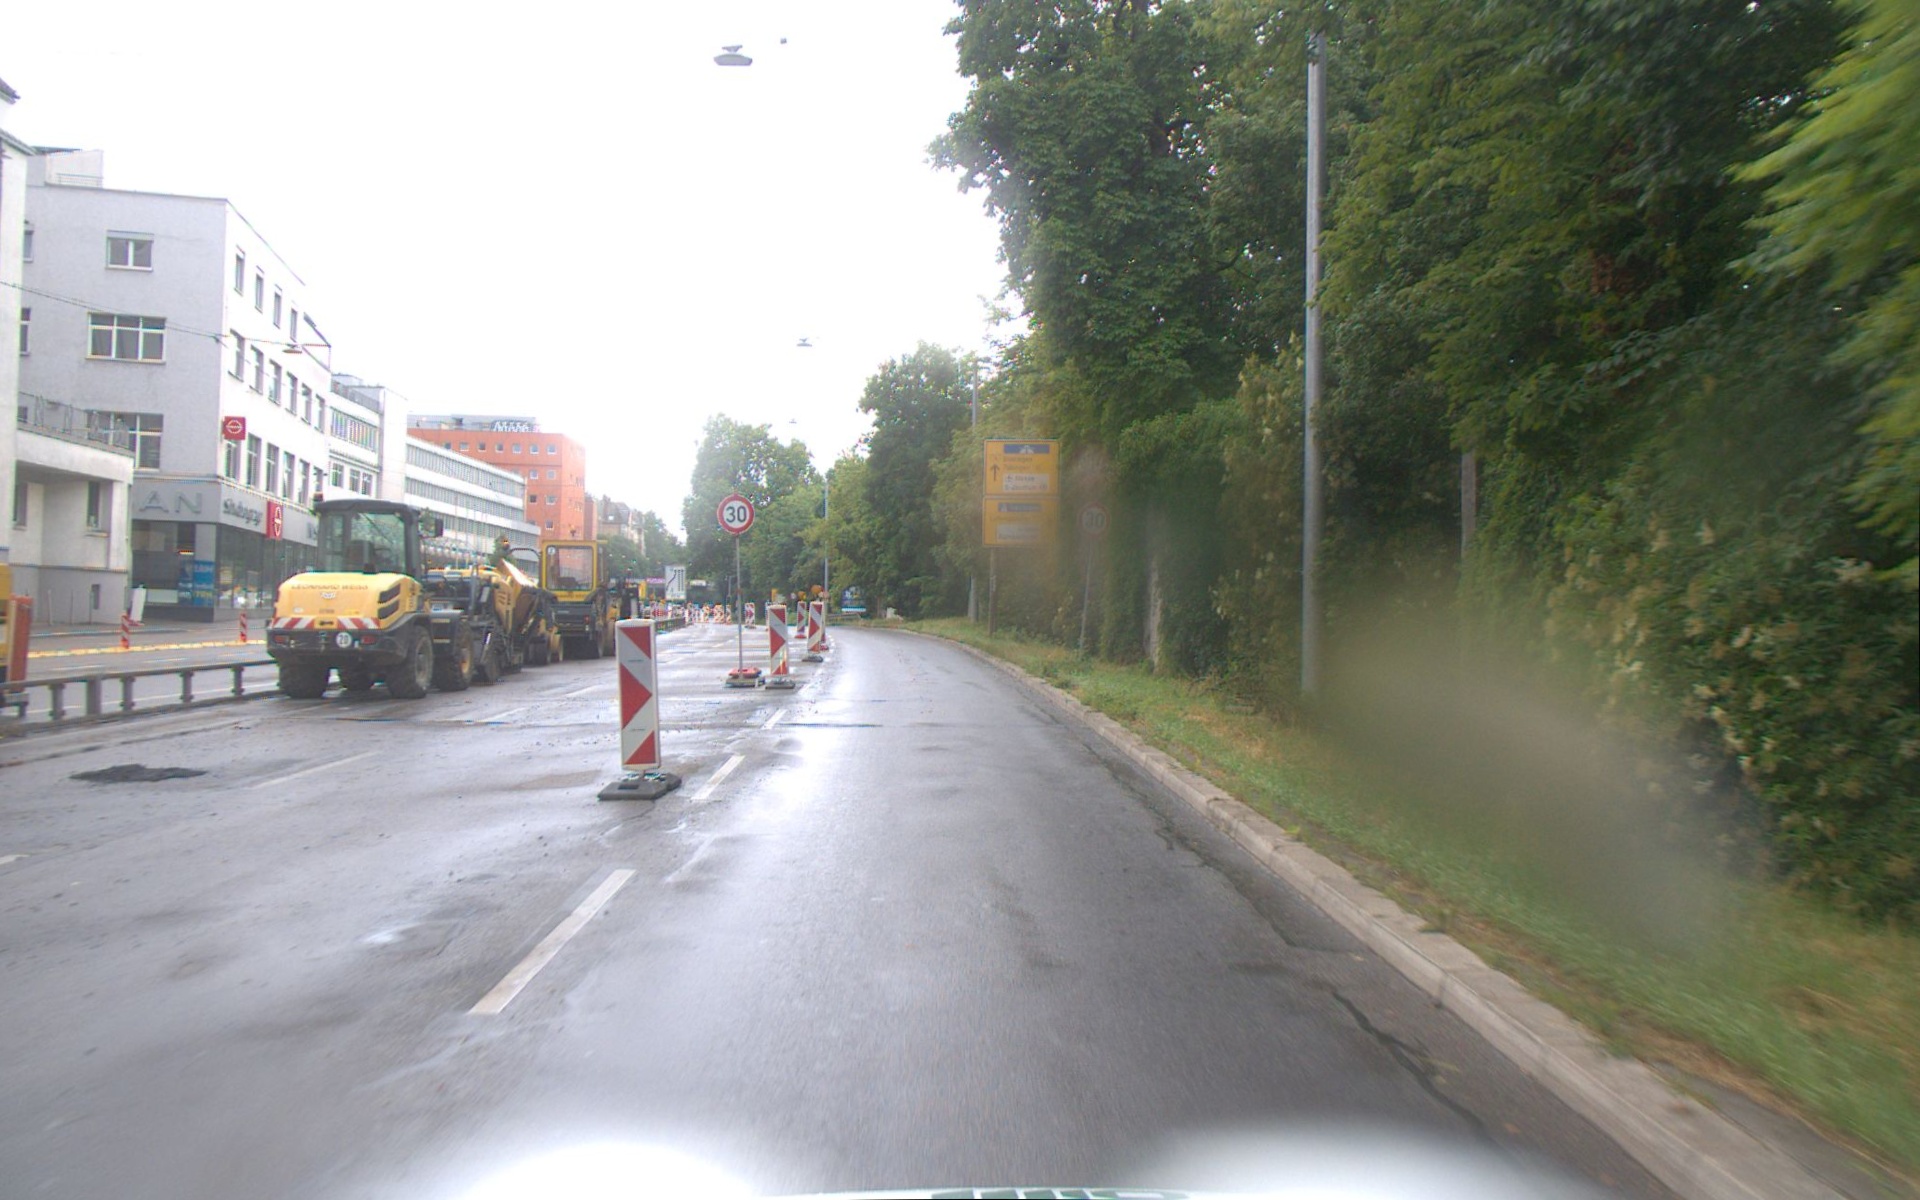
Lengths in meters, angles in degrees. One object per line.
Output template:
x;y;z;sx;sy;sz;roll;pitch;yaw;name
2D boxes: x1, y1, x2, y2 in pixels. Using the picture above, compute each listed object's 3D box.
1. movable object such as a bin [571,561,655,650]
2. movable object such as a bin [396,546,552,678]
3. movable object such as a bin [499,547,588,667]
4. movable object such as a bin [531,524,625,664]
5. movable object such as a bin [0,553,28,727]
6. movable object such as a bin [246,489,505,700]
-8.914;0.149;42.656;1.682;2.187;3.346;-1;0;-5;movable object such as a bin
-8.492;0.201;29.298;1.335;2.126;5.028;1;0;-1;movable object such as a bin
-8.733;0.142;34.799;1.383;2.443;2.403;-1;0;-4;movable object such as a bin
-8.785;-0.140;38.236;1.436;3.061;3.722;-1;0;-3;movable object such as a bin
-9.744;0.366;15.132;1.061;1.673;2.438;1;0;-2;movable object such as a bin
-8.173;-0.063;23.746;1.863;2.655;5.381;1;0;-1;movable object such as a bin
